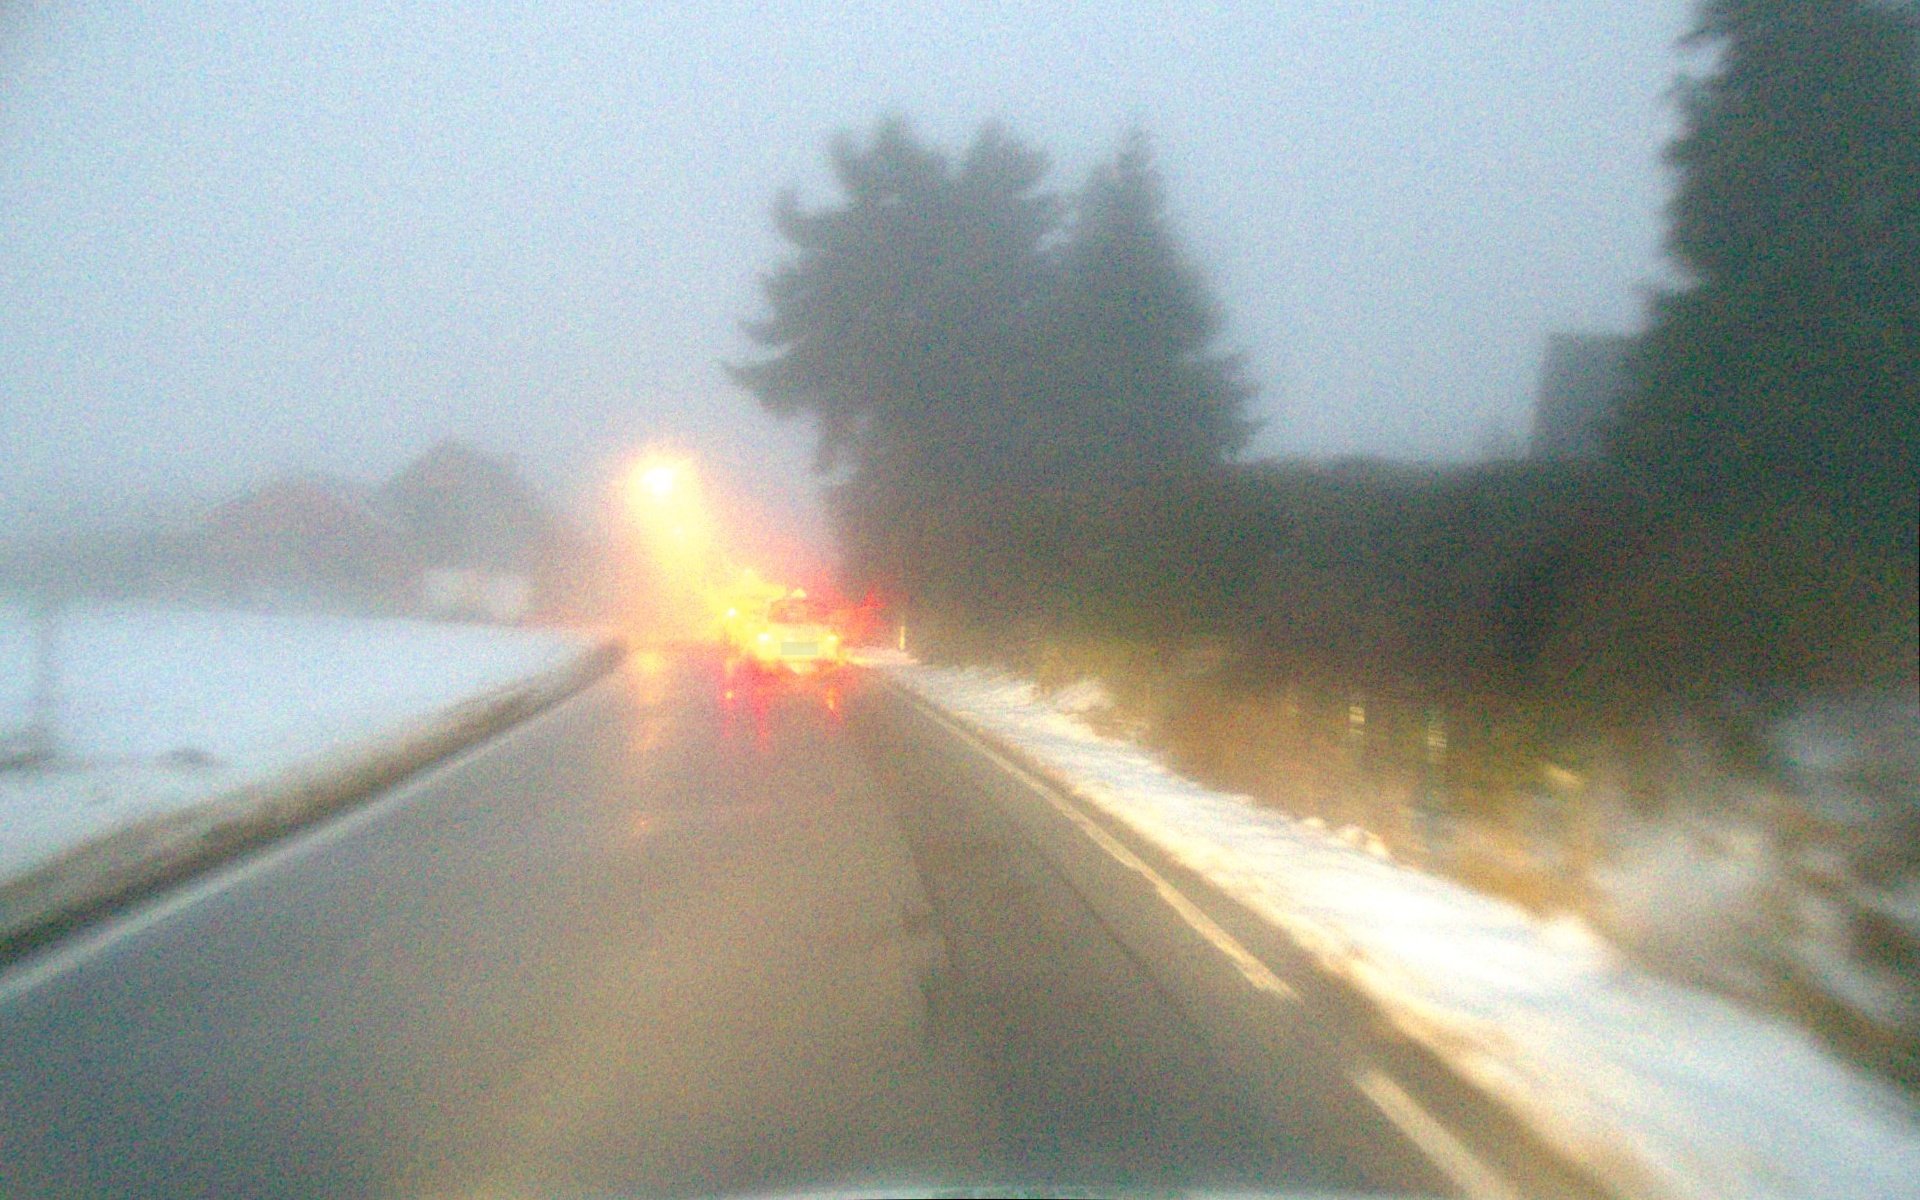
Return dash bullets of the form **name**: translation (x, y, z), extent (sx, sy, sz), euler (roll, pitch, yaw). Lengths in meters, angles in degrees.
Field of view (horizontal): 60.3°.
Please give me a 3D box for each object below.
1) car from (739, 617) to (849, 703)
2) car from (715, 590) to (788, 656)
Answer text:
- **car**: translation (-3.213, 1.101, 31.805), extent (1.955, 1.534, 3.994), euler (1, 0, -7)
- **car**: translation (-5.945, 0.650, 47.517), extent (1.955, 1.780, 3.995), euler (1, 0, -6)
